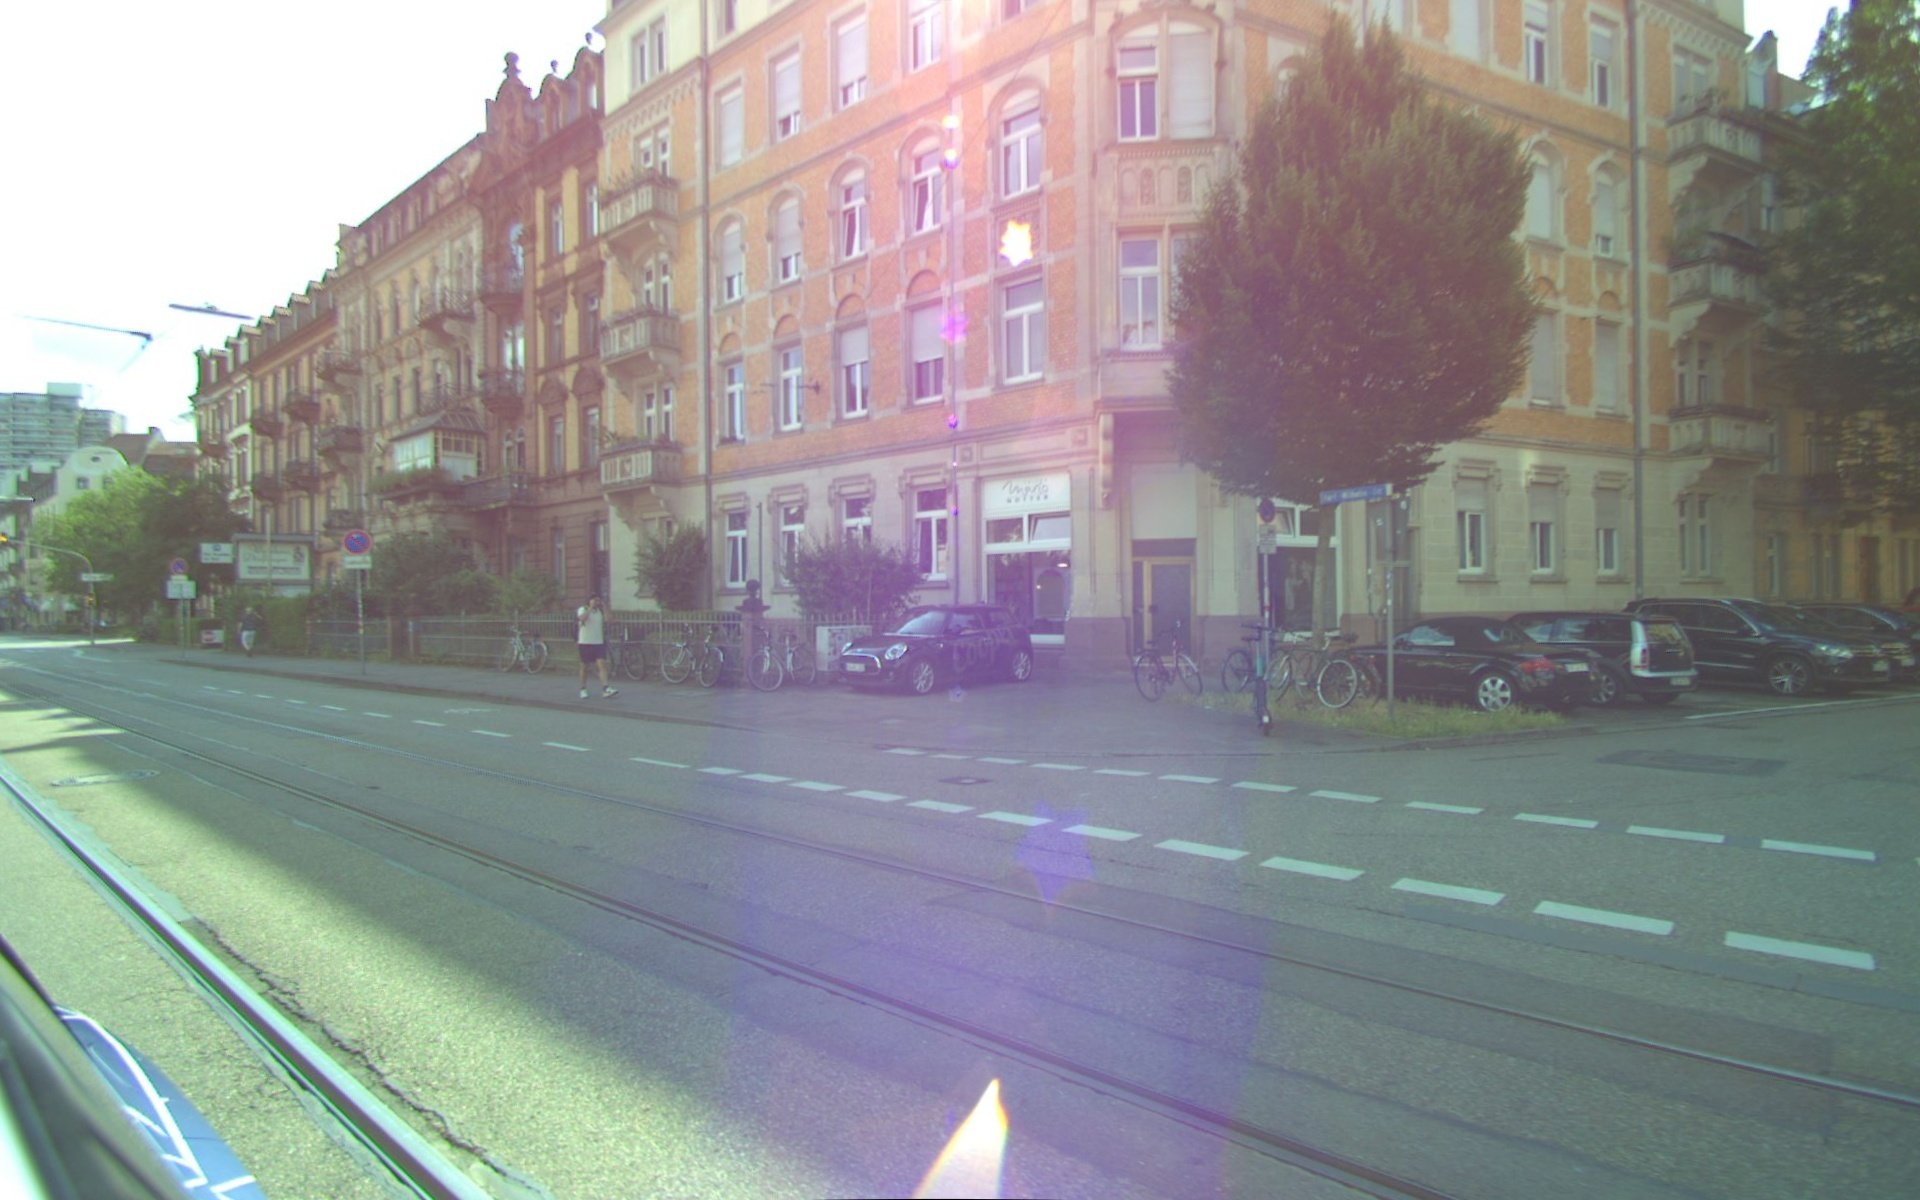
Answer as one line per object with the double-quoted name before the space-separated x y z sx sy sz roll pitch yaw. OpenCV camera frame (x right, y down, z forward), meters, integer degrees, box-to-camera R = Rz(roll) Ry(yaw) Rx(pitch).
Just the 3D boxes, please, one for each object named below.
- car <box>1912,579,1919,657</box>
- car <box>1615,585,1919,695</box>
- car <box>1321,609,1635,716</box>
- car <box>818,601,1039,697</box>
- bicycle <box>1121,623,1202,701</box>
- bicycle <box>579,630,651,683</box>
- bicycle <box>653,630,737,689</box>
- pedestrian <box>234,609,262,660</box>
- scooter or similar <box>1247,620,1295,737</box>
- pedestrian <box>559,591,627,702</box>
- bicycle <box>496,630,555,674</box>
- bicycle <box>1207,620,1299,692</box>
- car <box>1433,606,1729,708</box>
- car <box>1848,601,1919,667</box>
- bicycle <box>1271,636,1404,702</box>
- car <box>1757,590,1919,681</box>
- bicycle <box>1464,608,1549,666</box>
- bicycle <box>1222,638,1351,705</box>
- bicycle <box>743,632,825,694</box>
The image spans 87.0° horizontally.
"car" 27.290 0.440 25.400 1.864 2.080 4.527 0 -1 -26
"car" 14.275 0.653 18.101 1.591 1.734 4.013 0 -1 -26
"car" 7.583 0.852 15.222 1.616 1.370 3.938 0 -1 -30
"car" -0.476 0.779 17.550 3.562 1.413 1.788 -1 0 -45
"bicycle" 3.087 0.914 15.386 0.523 1.071 1.738 -2 -1 36
"bicycle" -6.798 1.087 19.914 1.948 0.984 0.417 -1 -1 41
"bicycle" -4.792 1.049 18.223 1.948 0.984 0.417 -1 -1 41
"pedestrian" -24.572 1.195 34.913 1.150 1.716 0.483 -1 0 40
"scooter or similar" 3.623 0.883 11.853 0.400 1.244 1.360 -1 0 13
"pedestrian" -6.127 0.756 16.891 1.105 1.773 0.527 -1 1 41
"bicycle" -9.831 1.163 22.844 1.948 0.939 0.417 -1 -1 41
"bicycle" 4.752 0.880 16.376 1.671 1.071 0.525 -1 -1 -38
"car" 9.883 0.847 16.445 1.616 1.426 3.800 -1 -1 -26
"car" 23.249 0.770 23.206 1.591 1.508 4.013 0 -1 -26
"bicycle" 5.185 0.925 14.000 0.516 0.844 1.702 -1 -1 -35
"car" 18.871 0.690 20.448 1.591 1.734 4.013 0 -1 -26
"bicycle" 12.049 0.792 22.292 2.144 1.218 0.626 0 -1 -31
"bicycle" 4.462 0.959 13.931 0.516 0.844 1.702 -1 -1 -35
"bicycle" -2.974 1.048 17.205 0.404 0.984 1.437 -2 -1 41
